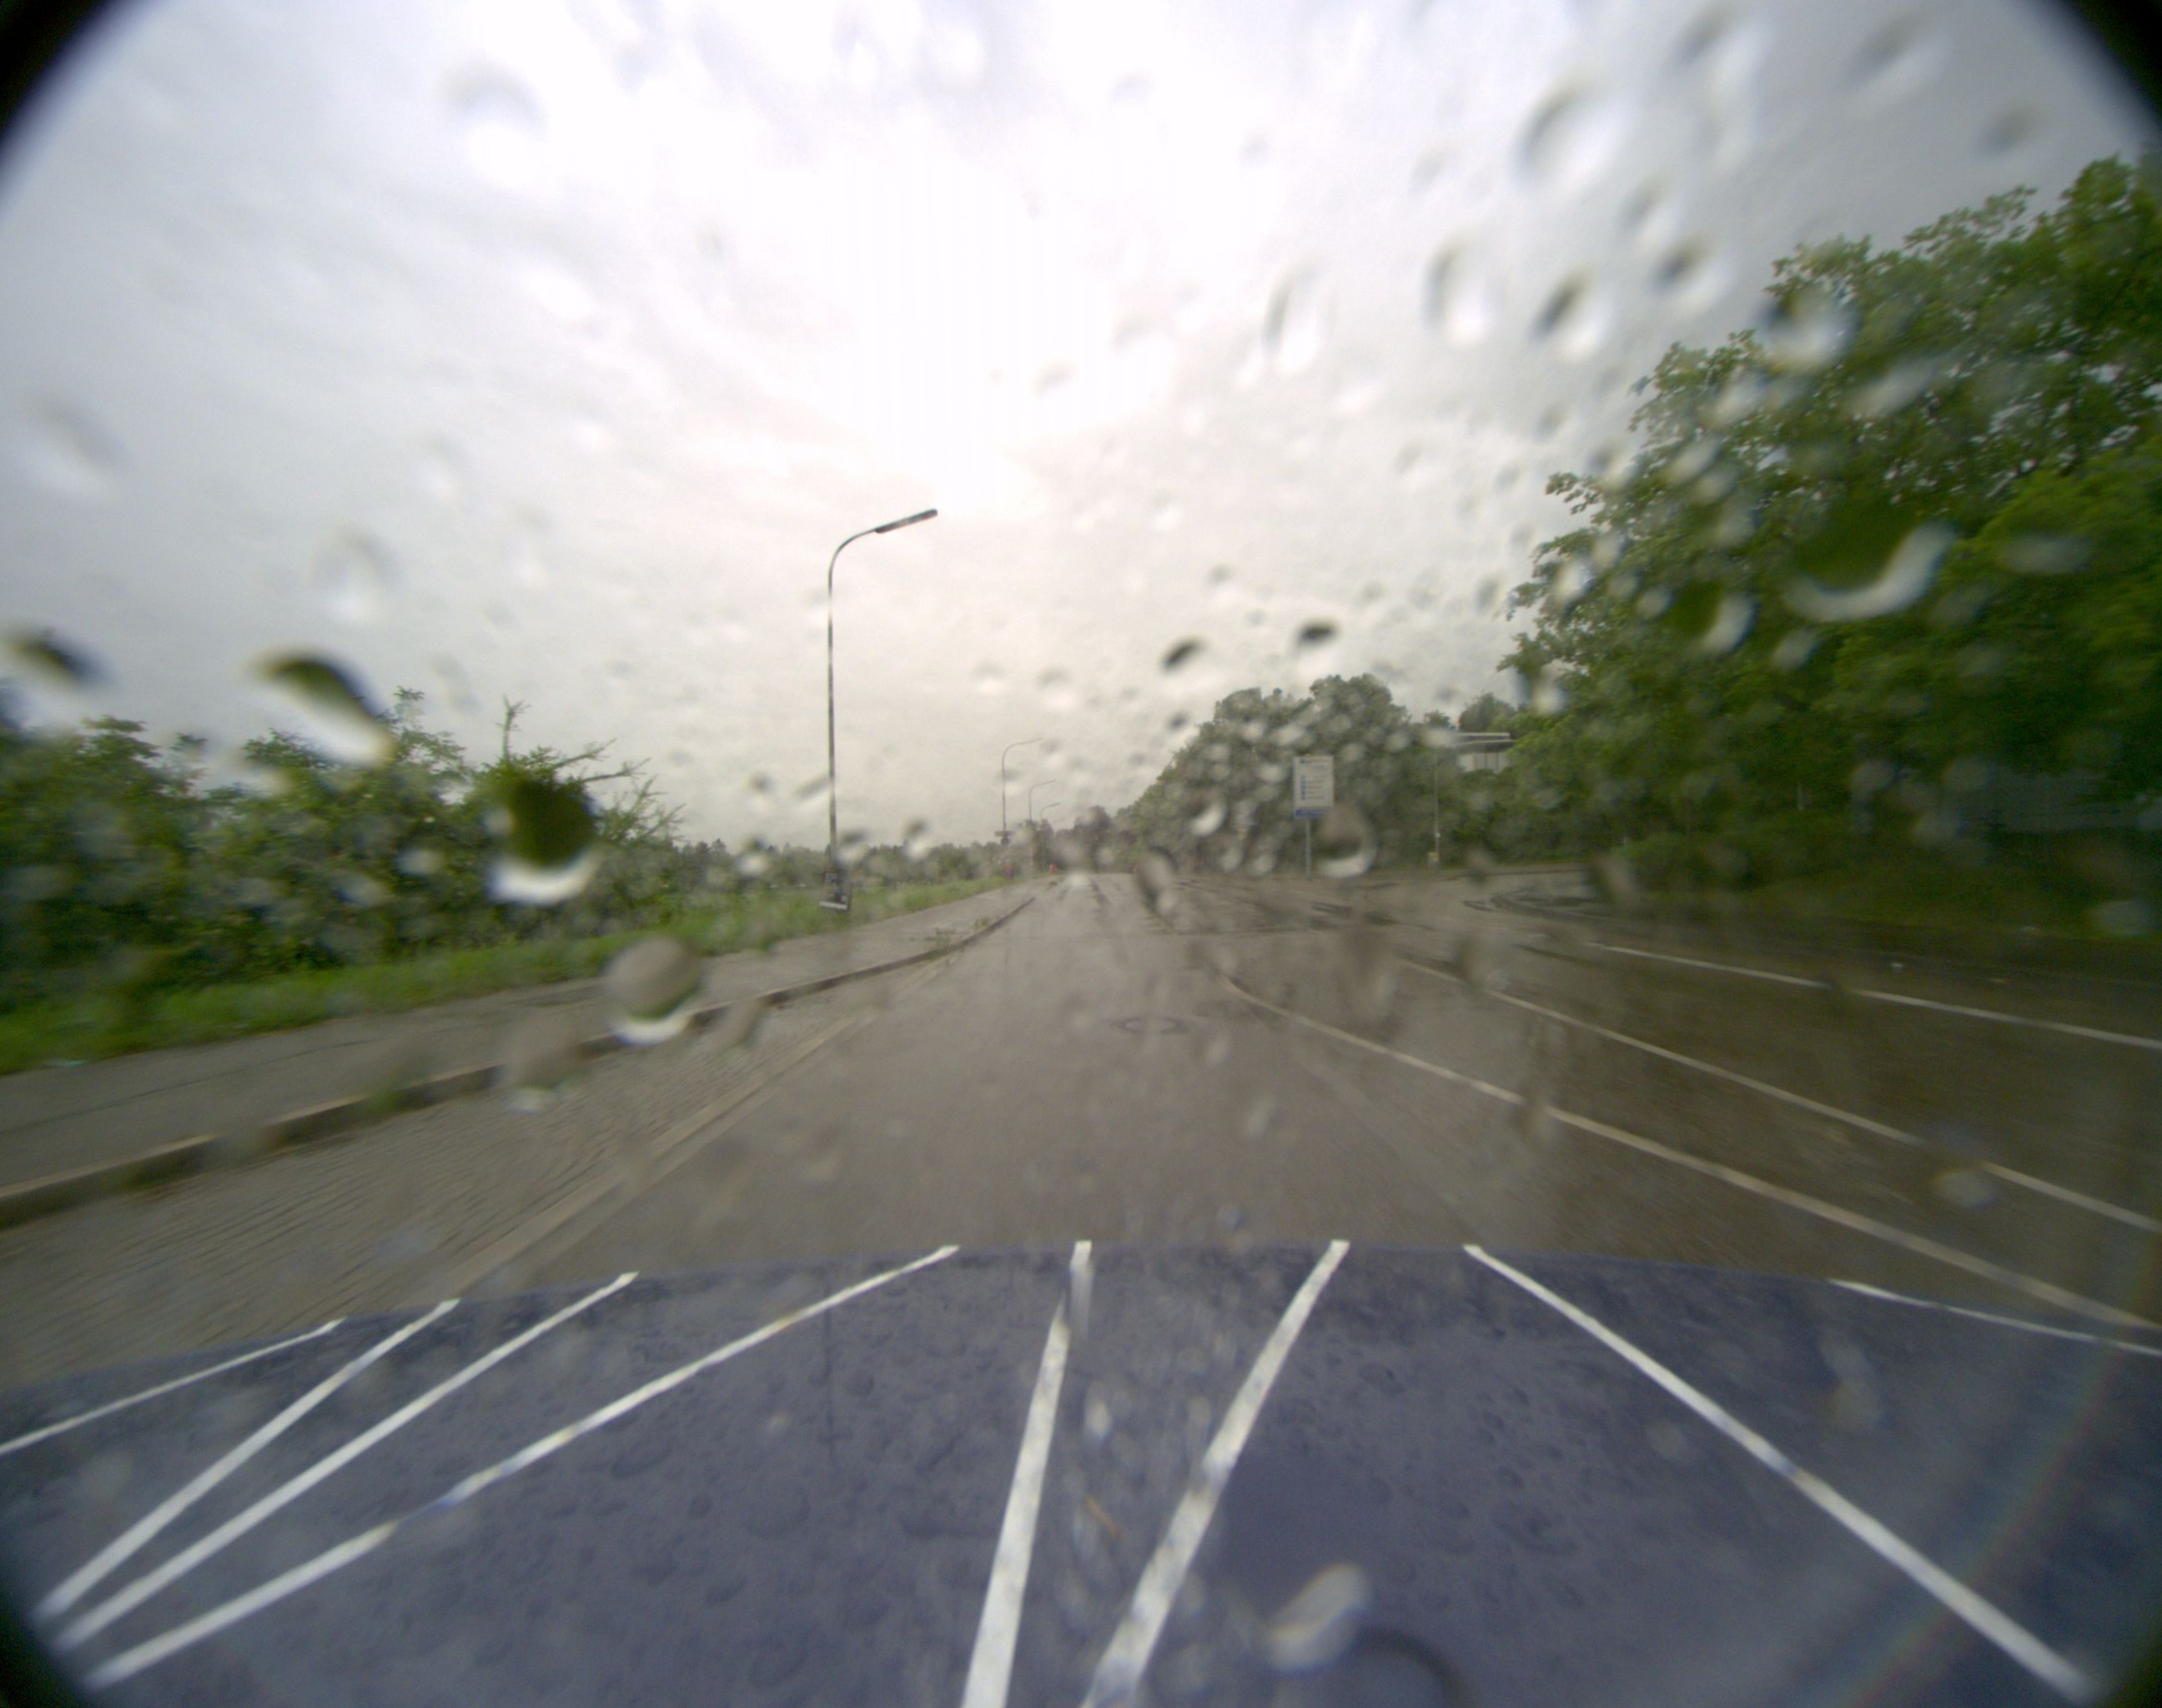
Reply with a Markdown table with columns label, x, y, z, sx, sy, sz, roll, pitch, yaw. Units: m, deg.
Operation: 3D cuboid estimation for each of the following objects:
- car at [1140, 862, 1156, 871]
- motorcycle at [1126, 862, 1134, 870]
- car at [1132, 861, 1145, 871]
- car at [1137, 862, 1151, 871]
| label | x | y | z | sx | sy | sz | roll | pitch | yaw |
| --- | --- | --- | --- | --- | --- | --- | --- | --- | --- |
| car | 10.216 | 1.900 | 116.143 | 1.691 | 1.411 | 4.740 | -2 | -1 | -3 |
| motorcycle | 8.499 | 2.142 | 132.265 | 0.840 | 1.333 | 2.498 | -2 | 0 | -7 |
| car | 9.478 | 1.990 | 125.212 | 1.438 | 1.528 | 2.817 | -2 | 0 | -10 |
| car | 10.006 | 1.946 | 121.283 | 1.437 | 1.411 | 4.102 | -2 | -1 | -6 |
